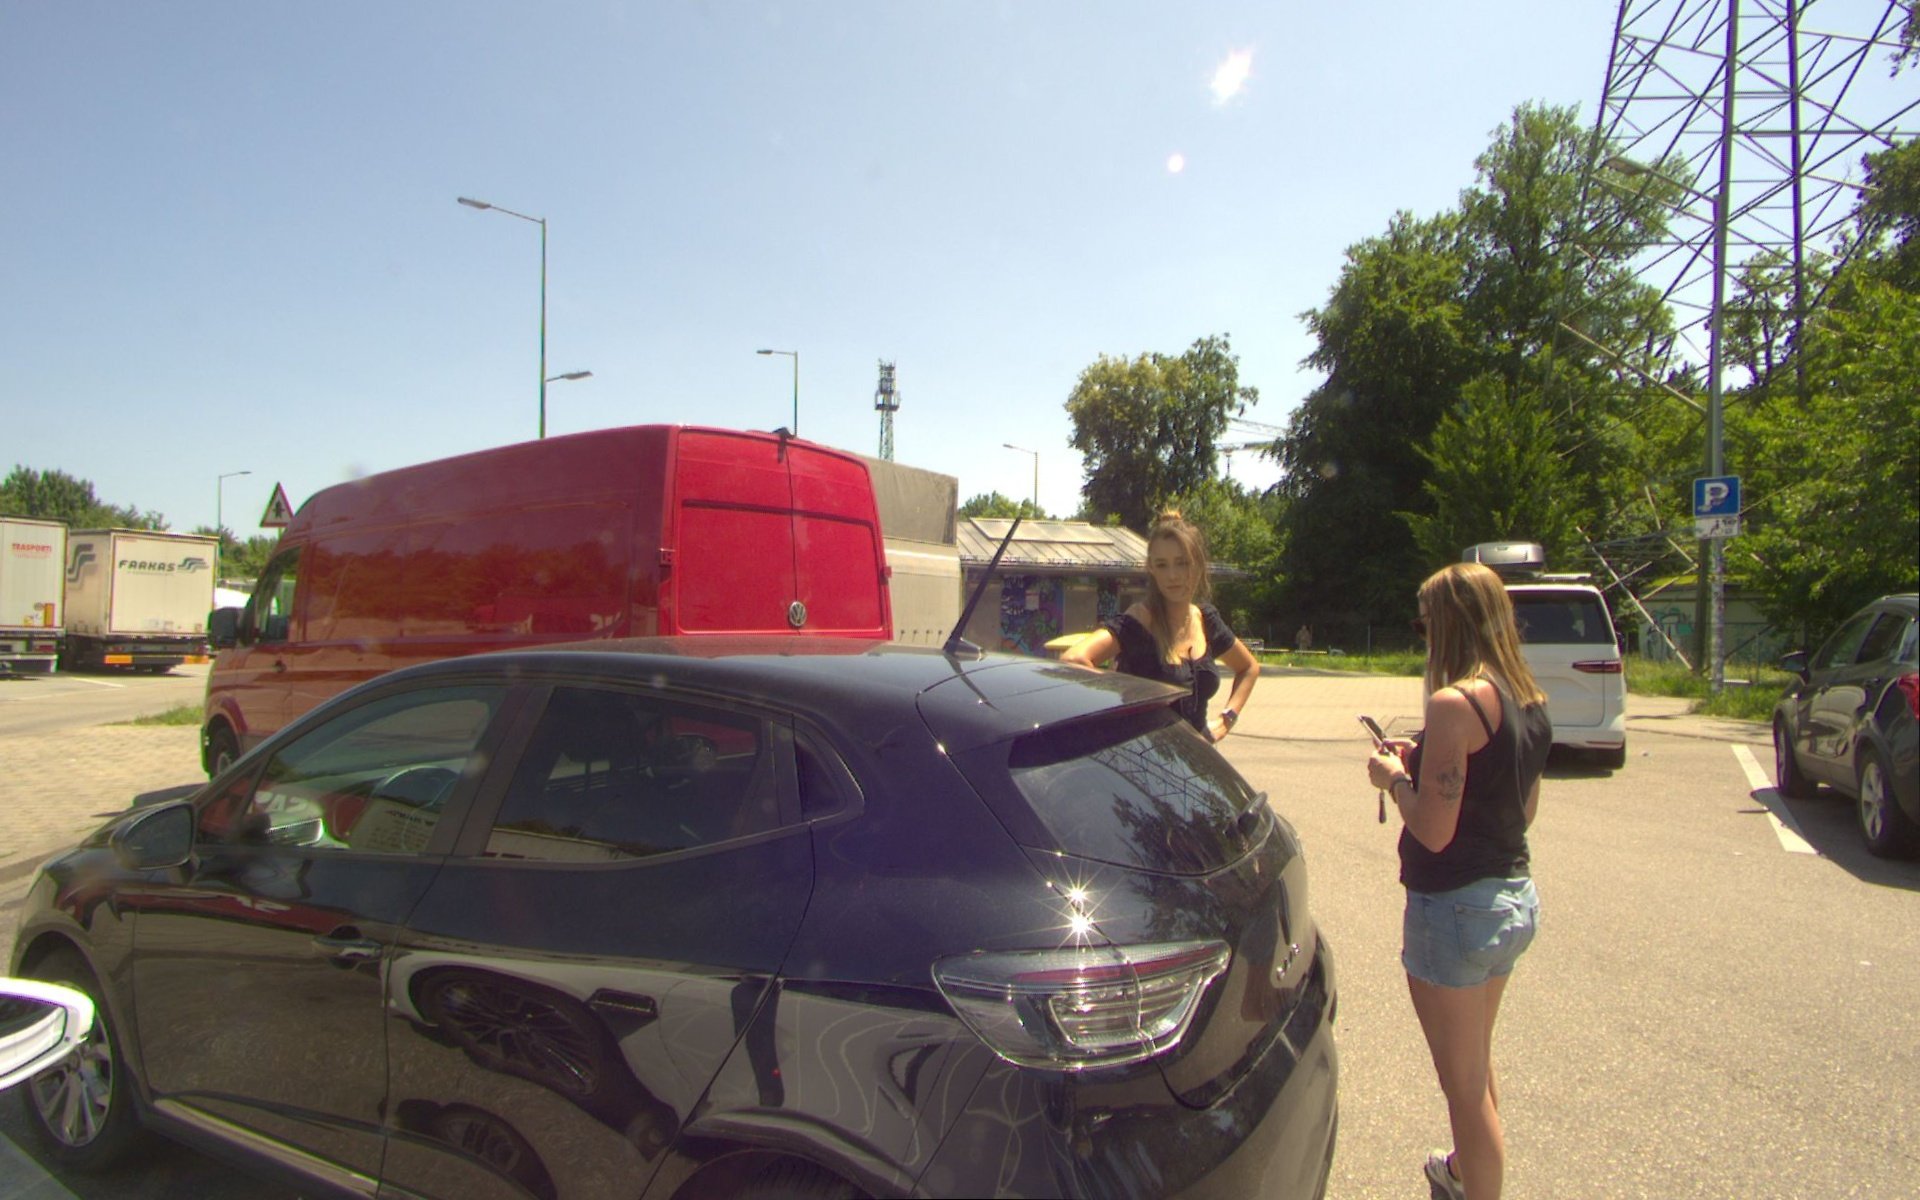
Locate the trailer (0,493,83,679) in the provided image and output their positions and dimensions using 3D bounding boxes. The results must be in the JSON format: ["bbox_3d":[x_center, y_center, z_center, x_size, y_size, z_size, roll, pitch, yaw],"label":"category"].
[{"bbox_3d":[-28.566,-0.344,27.848,12.642,4.511,2.677,0,-1,32],"label":"trailer"}]

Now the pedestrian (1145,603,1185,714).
[{"bbox_3d":[3.379,0.947,16.482,0.520,1.783,0.651,0,0,23],"label":"pedestrian"}]

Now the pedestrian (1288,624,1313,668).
[{"bbox_3d":[16.001,2.152,47.090,0.955,2.039,0.829,0,-1,10],"label":"pedestrian"}]

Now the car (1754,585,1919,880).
[{"bbox_3d":[7.063,0.793,6.942,1.811,1.638,4.150,0,-1,30],"label":"car"}]

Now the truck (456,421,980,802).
[{"bbox_3d":[-2.467,0.172,9.905,4.751,2.863,2.514,-1,-2,34],"label":"truck"}]

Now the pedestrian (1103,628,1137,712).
[{"bbox_3d":[2.663,1.149,16.652,0.439,1.362,0.477,0,0,23],"label":"pedestrian"}]

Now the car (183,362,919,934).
[{"bbox_3d":[-3.388,0.251,7.347,6.298,2.668,1.988,0,-1,36],"label":"car"}]

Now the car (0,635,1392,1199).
[{"bbox_3d":[-0.818,0.842,2.813,3.628,1.476,1.776,-1,-2,27],"label":"car"}]

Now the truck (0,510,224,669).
[{"bbox_3d":[-27.065,-0.119,31.181,11.800,4.279,2.582,-1,-2,32],"label":"truck"}]

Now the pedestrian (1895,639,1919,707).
[{"bbox_3d":[17.228,1.282,17.758,0.694,1.178,0.787,-1,-1,22],"label":"pedestrian"}]

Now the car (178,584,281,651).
[{"bbox_3d":[-29.933,0.752,41.025,3.943,2.632,2.111,-1,-2,32],"label":"car"}]

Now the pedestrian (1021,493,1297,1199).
[{"bbox_3d":[0.661,0.669,3.184,0.481,1.884,0.906,0,-1,39],"label":"pedestrian"}]

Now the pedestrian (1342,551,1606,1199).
[{"bbox_3d":[1.174,0.717,2.304,0.478,1.615,0.501,0,0,29],"label":"pedestrian"}]

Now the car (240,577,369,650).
[{"bbox_3d":[-29.462,0.598,44.942,6.259,3.114,2.495,0,-1,32],"label":"car"}]

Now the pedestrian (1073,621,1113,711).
[{"bbox_3d":[2.242,1.093,16.861,0.521,1.478,0.576,0,0,23],"label":"pedestrian"}]

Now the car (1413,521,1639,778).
[{"bbox_3d":[6.701,0.524,11.980,1.901,2.401,4.954,1,-1,29],"label":"car"}]
